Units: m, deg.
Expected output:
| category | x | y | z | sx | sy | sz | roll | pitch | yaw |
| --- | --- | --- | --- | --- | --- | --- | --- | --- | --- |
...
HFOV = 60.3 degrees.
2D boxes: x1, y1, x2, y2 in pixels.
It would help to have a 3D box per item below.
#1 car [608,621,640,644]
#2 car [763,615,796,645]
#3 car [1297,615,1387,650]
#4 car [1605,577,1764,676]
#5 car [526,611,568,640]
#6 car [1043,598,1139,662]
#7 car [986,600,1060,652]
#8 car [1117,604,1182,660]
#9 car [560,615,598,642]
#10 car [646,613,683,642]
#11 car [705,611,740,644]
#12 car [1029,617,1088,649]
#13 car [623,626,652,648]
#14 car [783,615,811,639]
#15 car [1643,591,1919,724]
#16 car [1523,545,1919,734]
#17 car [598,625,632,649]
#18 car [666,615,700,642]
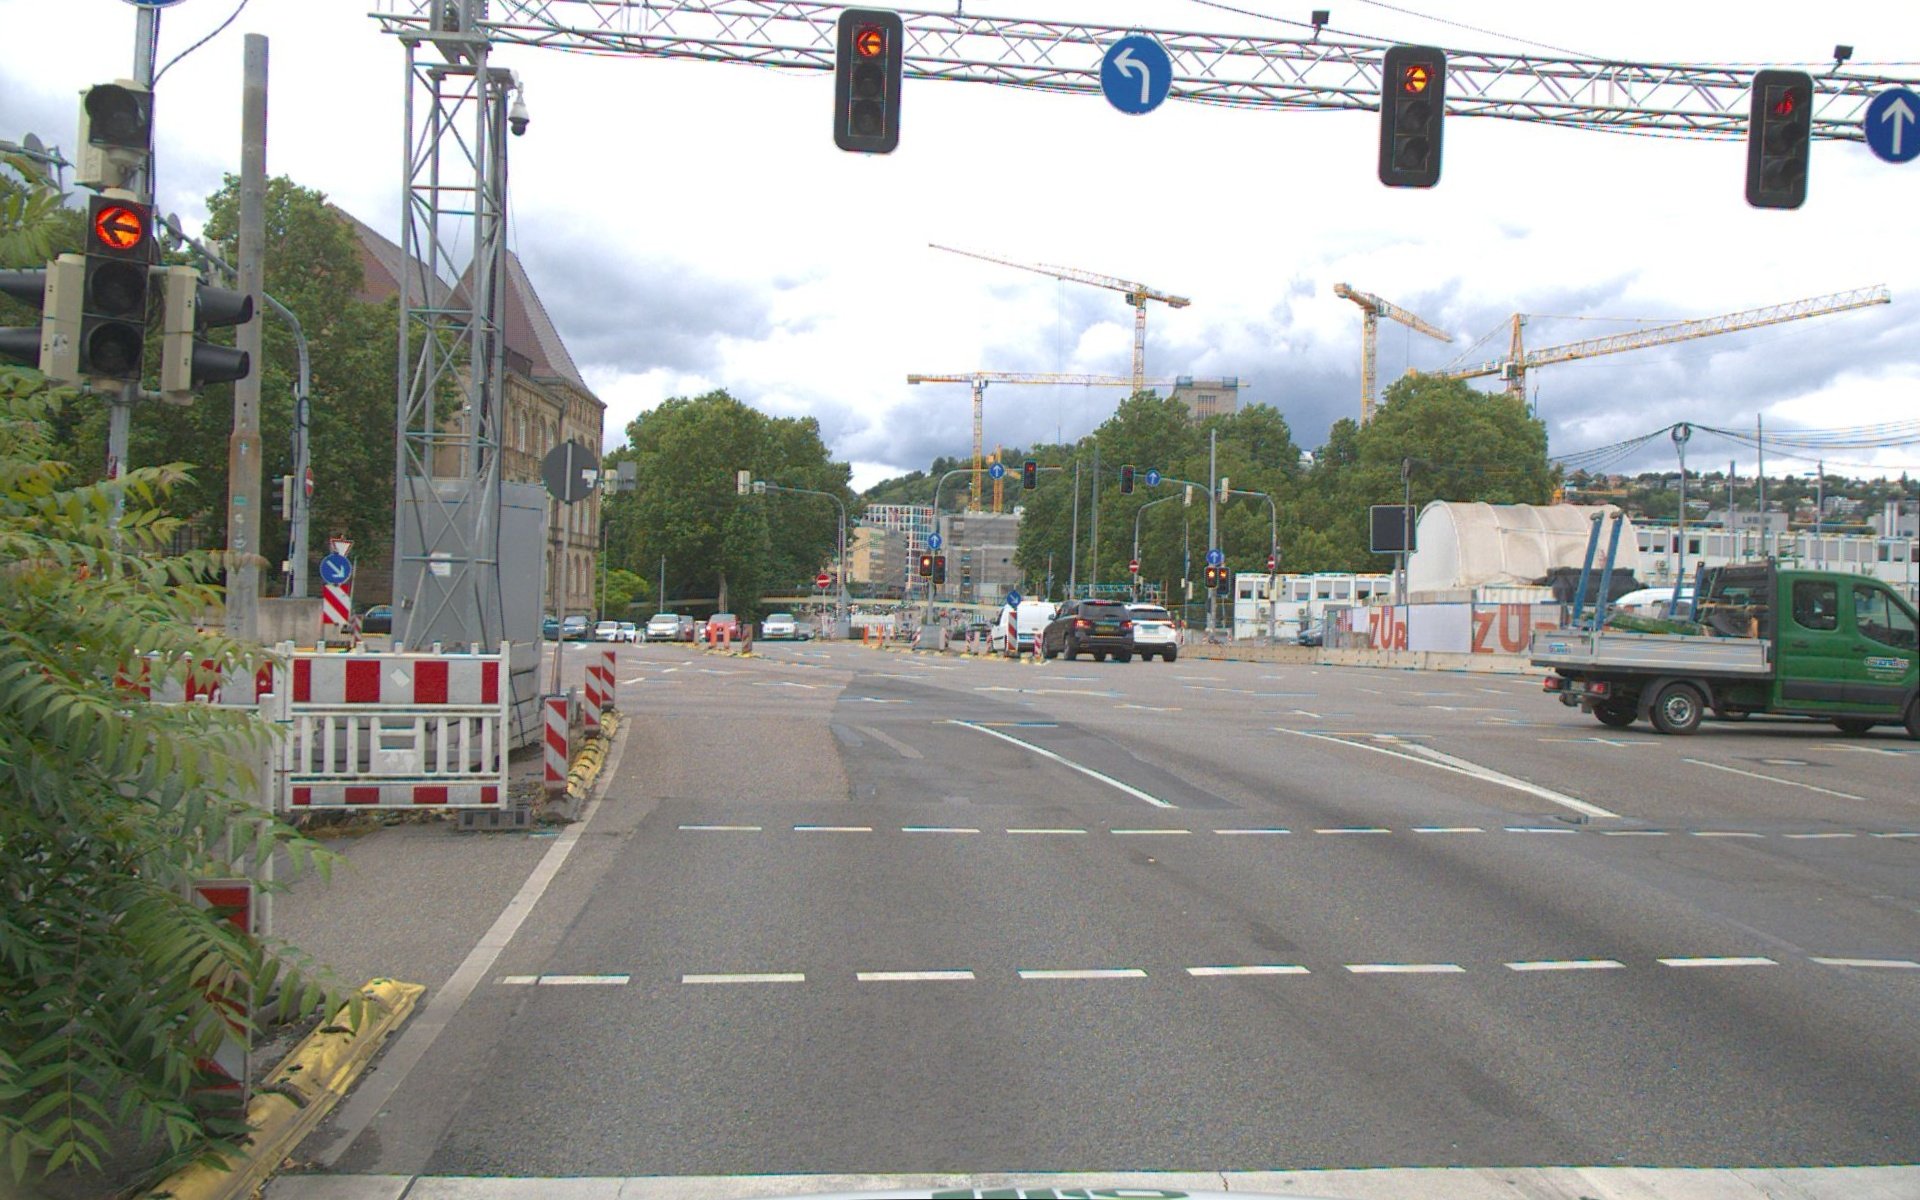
| category | x | y | z | sx | sy | sz | roll | pitch | yaw |
| --- | --- | --- | --- | --- | --- | --- | --- | --- | --- |
| car | -21.945 | 2.123 | 108.132 | 1.643 | 1.423 | 3.678 | 1 | -2 | -5 |
| car | -9.300 | 1.524 | 84.956 | 1.644 | 1.422 | 3.677 | 1 | 0 | -7 |
| car | 18.669 | 1.583 | 80.803 | 3.927 | 1.653 | 1.812 | 1 | 0 | -20 |
| car | 20.827 | 0.746 | 47.683 | 3.902 | 2.708 | 1.683 | 1 | 0 | 13 |
| car | -21.474 | 1.318 | 86.144 | 1.644 | 1.422 | 3.677 | 1 | 0 | -7 |
| car | 3.783 | 0.840 | 48.530 | 1.799 | 1.776 | 4.245 | 1 | 0 | -10 |
| car | 2.084 | 0.850 | 55.551 | 1.783 | 1.653 | 3.993 | 1 | 0 | -8 |
| car | 6.045 | 0.997 | 53.129 | 1.642 | 1.732 | 3.374 | 1 | 0 | -1 |
| car | -21.308 | 1.582 | 92.548 | 1.644 | 1.422 | 3.677 | 1 | 0 | -7 |
| car | -15.252 | 1.423 | 85.379 | 1.644 | 1.422 | 3.677 | 1 | 0 | -7 |
| car | -12.120 | 1.381 | 84.518 | 1.644 | 1.608 | 3.677 | 1 | 0 | -7 |
| car | 4.515 | 1.509 | 76.039 | 1.650 | 1.422 | 3.070 | 1 | 0 | -19 |
| car | -22.435 | 2.592 | 115.138 | 1.644 | 1.422 | 3.677 | 1 | 0 | -7 |
| car | -10.148 | 1.679 | 102.560 | 1.644 | 1.422 | 3.677 | 1 | 0 | -7 |
| car | 13.048 | 0.864 | 25.695 | 4.176 | 1.915 | 1.832 | 1 | 0 | 9 |
| car | 10.832 | 0.534 | 22.390 | 5.647 | 2.345 | 2.301 | 1 | 0 | -6 |
| car | -21.073 | 2.248 | 101.082 | 1.644 | 1.422 | 3.677 | 1 | 0 | -7 |
| car | -15.293 | 1.551 | 91.538 | 1.644 | 1.422 | 3.677 | 1 | 0 | -7 |
